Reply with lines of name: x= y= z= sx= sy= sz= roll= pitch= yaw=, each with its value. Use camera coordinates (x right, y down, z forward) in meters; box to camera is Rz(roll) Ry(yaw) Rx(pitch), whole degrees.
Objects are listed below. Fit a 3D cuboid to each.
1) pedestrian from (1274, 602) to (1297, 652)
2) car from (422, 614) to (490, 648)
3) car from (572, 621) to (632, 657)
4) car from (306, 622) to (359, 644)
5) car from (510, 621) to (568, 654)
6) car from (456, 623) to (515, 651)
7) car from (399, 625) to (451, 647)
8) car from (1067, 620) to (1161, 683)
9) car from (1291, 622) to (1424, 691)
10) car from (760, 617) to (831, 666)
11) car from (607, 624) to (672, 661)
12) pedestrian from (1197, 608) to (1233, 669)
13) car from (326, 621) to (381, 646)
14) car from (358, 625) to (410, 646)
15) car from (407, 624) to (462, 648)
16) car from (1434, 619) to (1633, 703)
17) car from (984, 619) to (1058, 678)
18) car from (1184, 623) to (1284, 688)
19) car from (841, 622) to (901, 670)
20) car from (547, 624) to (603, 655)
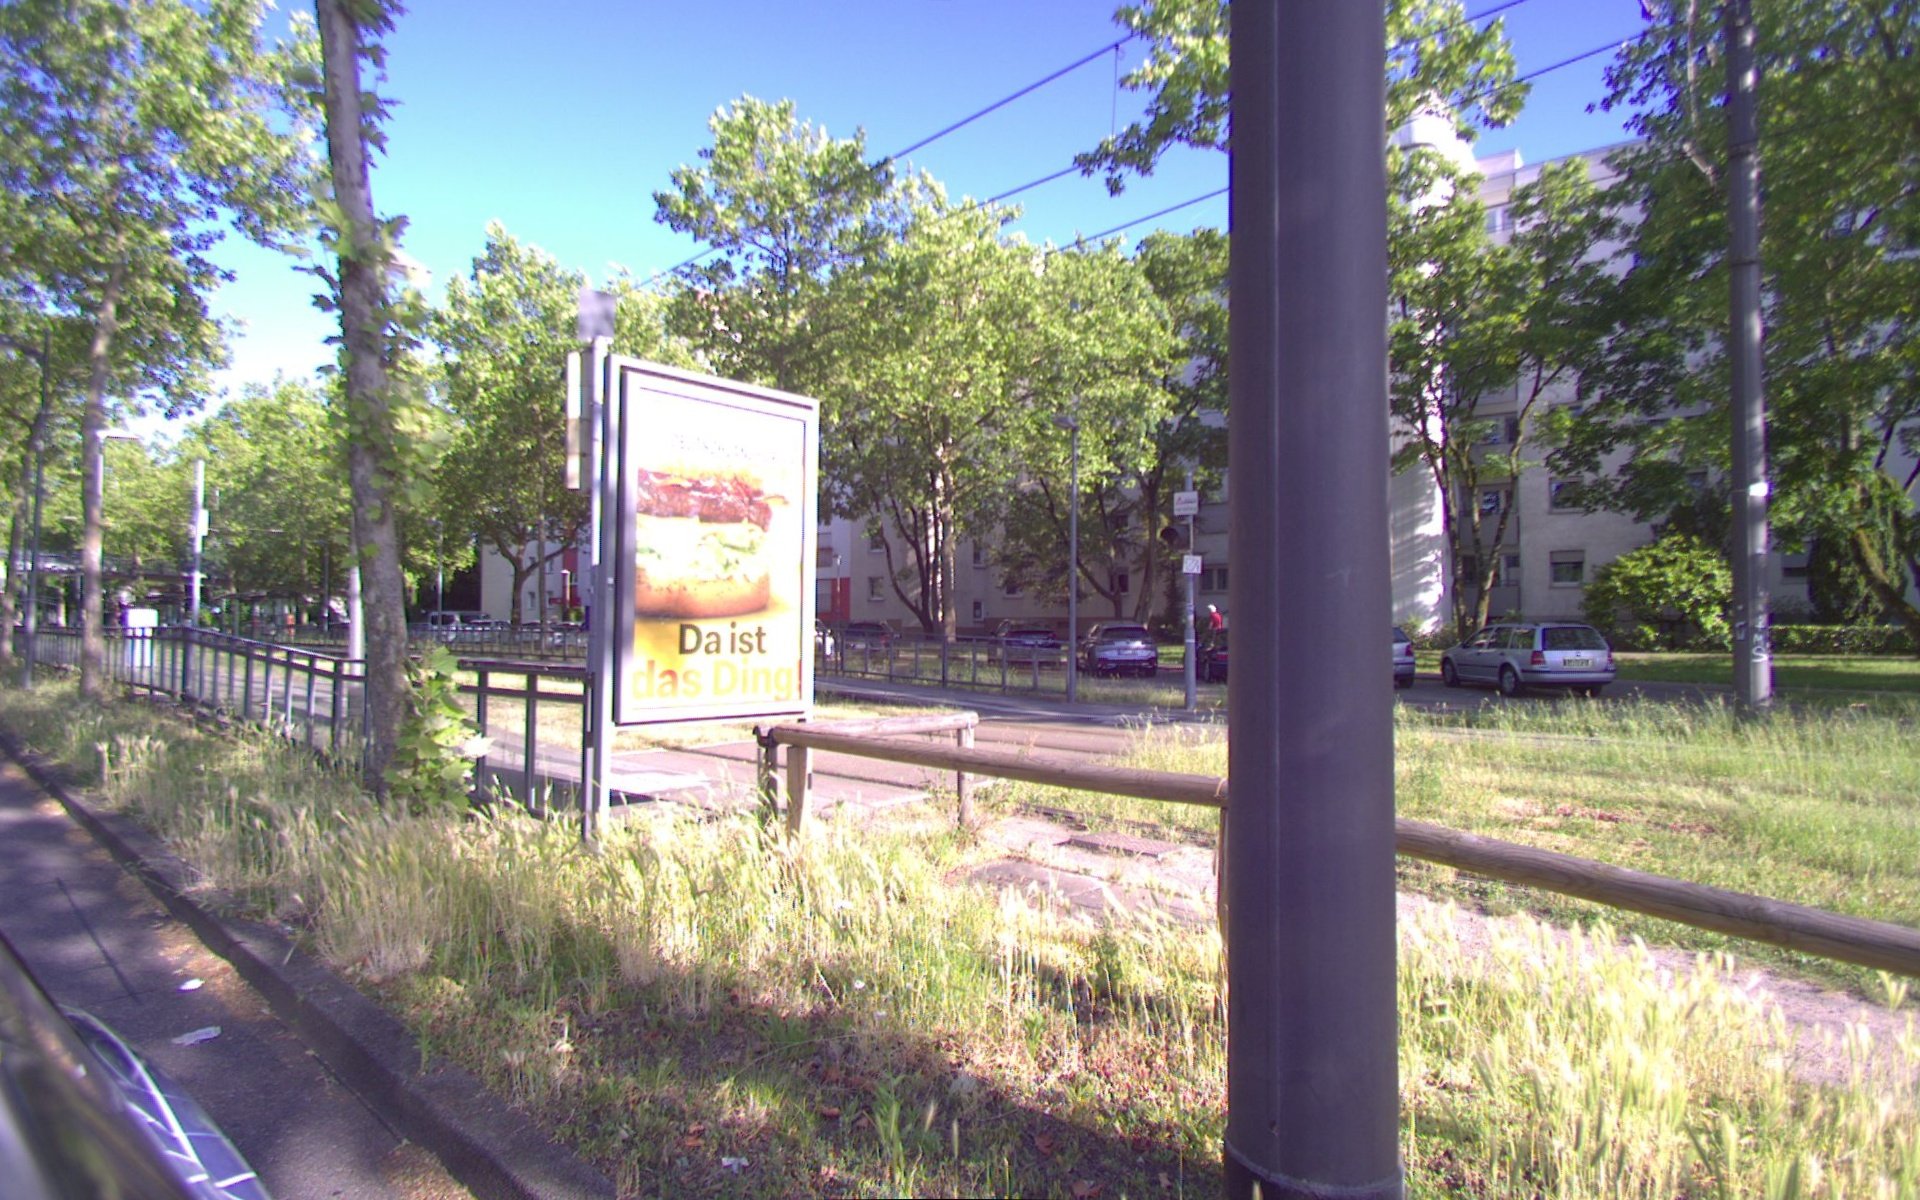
pedestrian: x=11.782 y=0.967 z=36.625 sx=0.634 sy=1.770 sz=0.516 roll=-1 pitch=-2 yaw=39
car: x=-28.372 y=1.747 z=57.145 sx=1.843 sy=1.826 sz=4.047 roll=0 pitch=-1 yaw=0
car: x=-16.578 y=1.793 z=46.968 sx=1.445 sy=1.519 sz=3.393 roll=-1 pitch=0 yaw=3
car: x=-44.889 y=2.366 z=72.479 sx=1.578 sy=1.538 sz=3.737 roll=0 pitch=-1 yaw=-3
car: x=-21.164 y=1.869 z=51.017 sx=1.539 sy=1.436 sz=3.489 roll=-3 pitch=0 yaw=-2
car: x=-25.895 y=2.003 z=55.334 sx=1.605 sy=1.414 sz=3.488 roll=0 pitch=-1 yaw=-1
car: x=-33.033 y=2.204 z=62.568 sx=1.459 sy=1.311 sz=3.488 roll=0 pitch=-1 yaw=-1
car: x=4.118 y=1.348 z=27.671 sx=1.650 sy=1.469 sz=4.004 roll=-1 pitch=0 yaw=-4
car: x=9.122 y=1.256 z=23.544 sx=1.553 sy=1.431 sz=3.620 roll=-1 pitch=-1 yaw=-1
car: x=-5.985 y=1.487 z=37.207 sx=1.791 sy=1.607 sz=3.997 roll=-1 pitch=0 yaw=3
car: x=-14.018 y=1.842 z=44.474 sx=1.470 sy=1.425 sz=3.880 roll=-1 pitch=0 yaw=3
pedestrian: x=7.514 y=1.121 z=29.856 sx=0.755 sy=1.770 sz=0.752 roll=-1 pitch=-2 yaw=41
car: x=-40.745 y=2.225 z=68.101 sx=1.578 sy=1.582 sz=3.830 roll=0 pitch=-1 yaw=-3
car: x=-37.535 y=2.297 z=66.042 sx=1.459 sy=1.330 sz=3.488 roll=0 pitch=-1 yaw=-1
car: x=-30.833 y=2.083 z=59.441 sx=1.459 sy=1.354 sz=3.488 roll=0 pitch=-1 yaw=-1
car: x=11.535 y=1.164 z=20.695 sx=1.685 sy=1.454 sz=3.978 roll=-1 pitch=0 yaw=-2
car: x=1.713 y=1.373 z=29.779 sx=1.669 sy=1.499 sz=4.003 roll=-1 pitch=0 yaw=-4
car: x=6.759 y=1.333 z=25.333 sx=1.572 sy=1.360 sz=3.922 roll=-1 pitch=0 yaw=3
car: x=-2.995 y=1.544 z=34.658 sx=1.538 sy=1.439 sz=3.761 roll=-1 pitch=0 yaw=3
car: x=-18.748 y=1.903 z=49.432 sx=1.459 sy=1.339 sz=3.488 roll=-2 pitch=0 yaw=-1
